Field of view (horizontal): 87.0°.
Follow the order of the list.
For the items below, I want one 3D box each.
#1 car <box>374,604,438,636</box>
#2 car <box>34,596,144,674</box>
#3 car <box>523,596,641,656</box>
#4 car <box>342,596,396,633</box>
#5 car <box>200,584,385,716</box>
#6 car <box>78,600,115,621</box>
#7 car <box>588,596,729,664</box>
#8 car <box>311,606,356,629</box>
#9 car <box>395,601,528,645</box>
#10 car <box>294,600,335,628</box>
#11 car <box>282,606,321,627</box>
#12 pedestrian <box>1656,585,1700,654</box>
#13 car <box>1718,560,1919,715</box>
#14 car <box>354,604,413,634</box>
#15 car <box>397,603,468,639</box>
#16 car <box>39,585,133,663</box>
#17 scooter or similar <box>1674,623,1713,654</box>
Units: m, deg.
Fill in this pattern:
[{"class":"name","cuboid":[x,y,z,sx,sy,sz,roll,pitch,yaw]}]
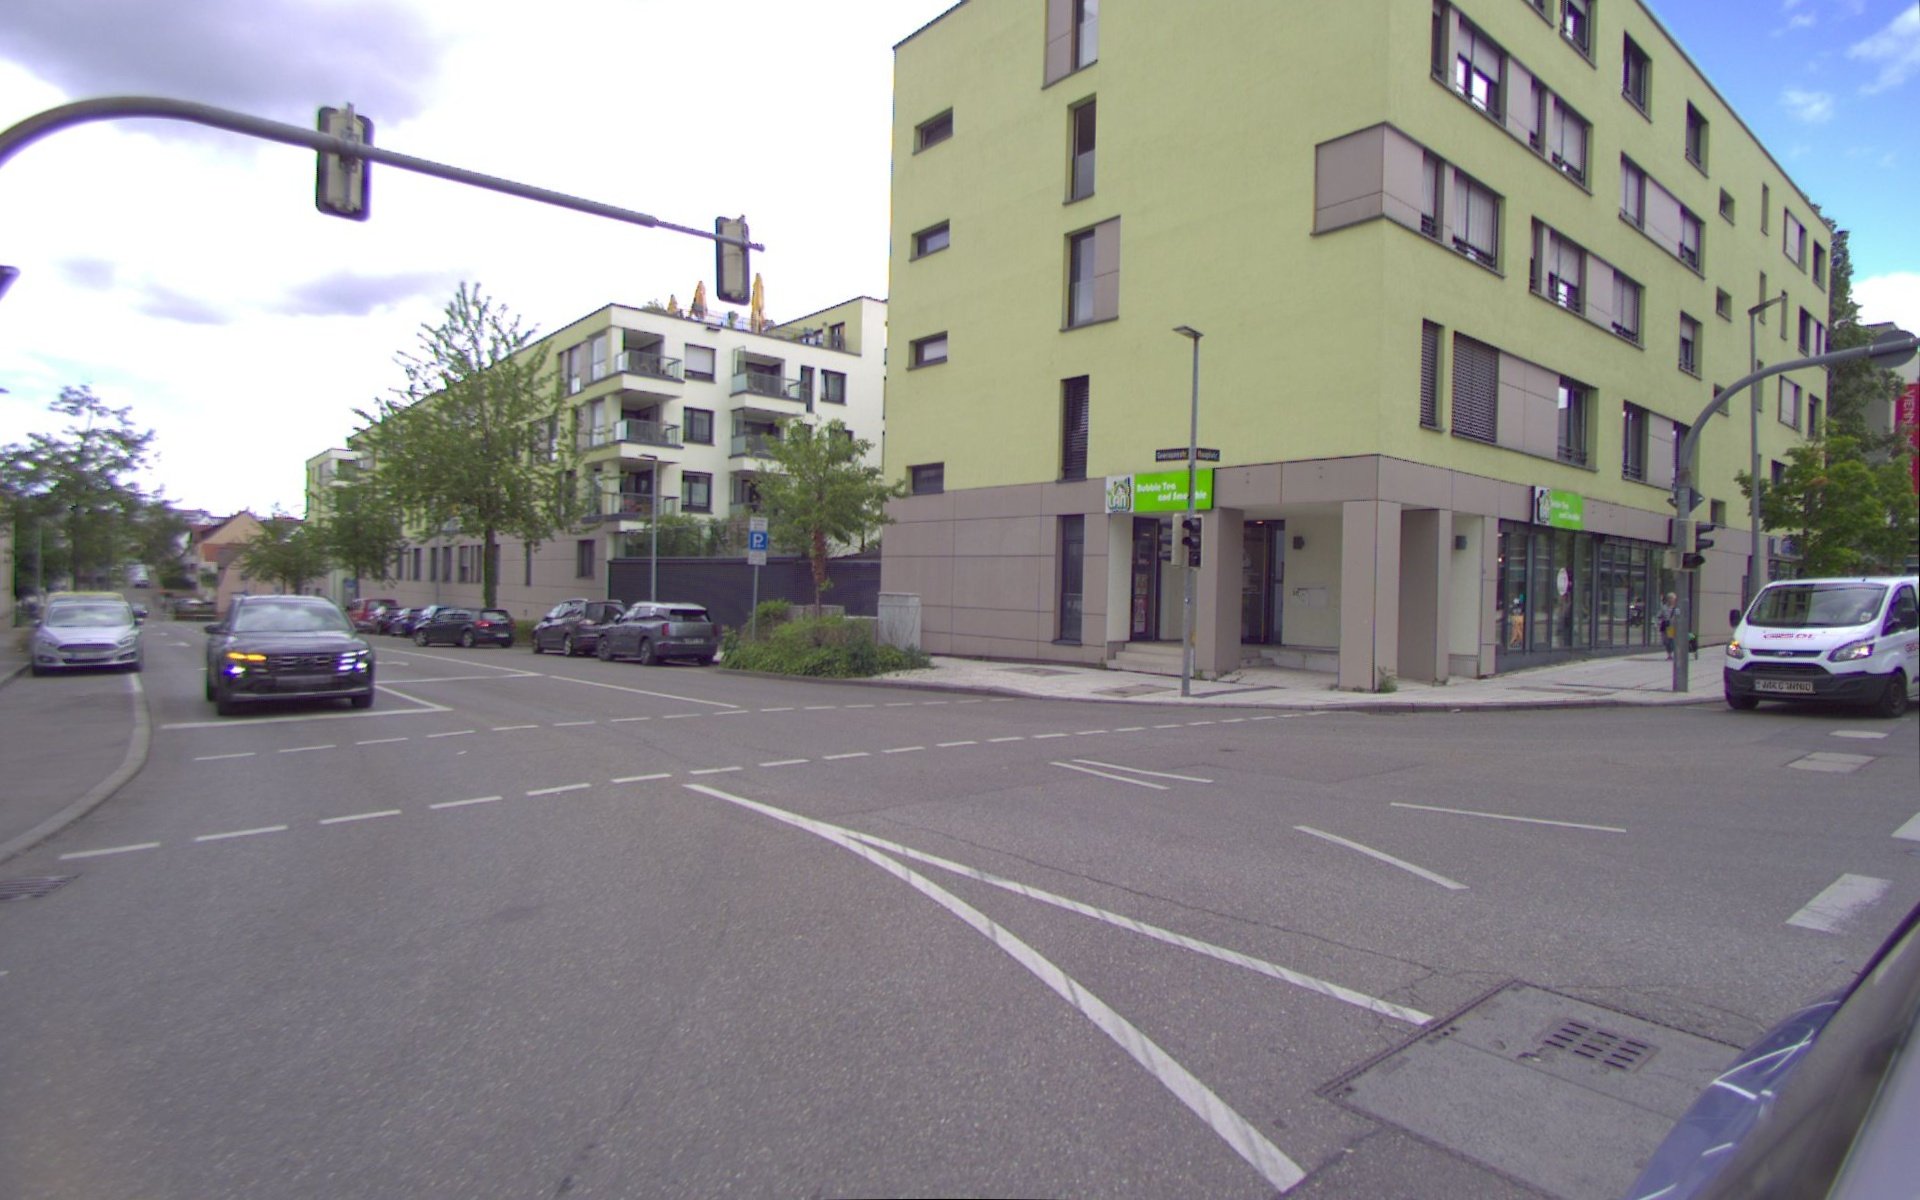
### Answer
[{"class":"car","cuboid":[-27.083,0.955,49.454,1.935,1.514,4.418,0,-1,-40]},{"class":"car","cuboid":[-20.163,0.752,23.563,1.776,1.651,4.419,0,-1,-39]},{"class":"car","cuboid":[-11.657,0.757,31.024,1.936,1.682,4.415,0,-1,-42]},{"class":"car","cuboid":[-33.429,0.792,57.195,1.935,2.003,4.418,0,-1,-40]},{"class":"car","cuboid":[-10.055,0.650,15.105,1.917,1.680,4.096,0,-1,-39]},{"class":"car","cuboid":[-68.355,0.810,80.047,1.967,1.559,4.794,0,0,-44]},{"class":"car","cuboid":[-8.087,0.749,26.921,1.936,1.636,4.415,0,-1,-42]},{"class":"car","cuboid":[-41.249,1.135,66.562,1.935,1.514,4.418,0,-1,-40]},{"class":"car","cuboid":[-18.071,0.825,36.694,4.373,1.514,1.955,0,-1,23]},{"class":"car","cuboid":[-45.712,0.970,71.609,1.935,1.952,4.418,0,-1,-40]},{"class":"car","cuboid":[-49.707,1.239,76.359,1.935,1.514,4.418,0,-1,-40]},{"class":"pedestrian","cuboid":[17.246,0.460,24.311,0.592,1.613,0.697,1,2,-40]},{"class":"car","cuboid":[13.750,0.499,15.310,4.902,2.013,2.002,0,-1,-32]},{"class":"car","cuboid":[-30.525,0.998,53.533,1.935,1.514,4.418,0,-1,-40]},{"class":"car","cuboid":[-23.684,0.912,45.368,1.935,1.514,4.418,0,-1,-40]},{"class":"car","cuboid":[-23.858,0.625,27.748,1.776,1.949,4.627,0,-1,-39]},{"class":"scooter or similar","cuboid":[17.866,0.931,24.646,0.809,0.681,0.593,0,2,-40]}]
